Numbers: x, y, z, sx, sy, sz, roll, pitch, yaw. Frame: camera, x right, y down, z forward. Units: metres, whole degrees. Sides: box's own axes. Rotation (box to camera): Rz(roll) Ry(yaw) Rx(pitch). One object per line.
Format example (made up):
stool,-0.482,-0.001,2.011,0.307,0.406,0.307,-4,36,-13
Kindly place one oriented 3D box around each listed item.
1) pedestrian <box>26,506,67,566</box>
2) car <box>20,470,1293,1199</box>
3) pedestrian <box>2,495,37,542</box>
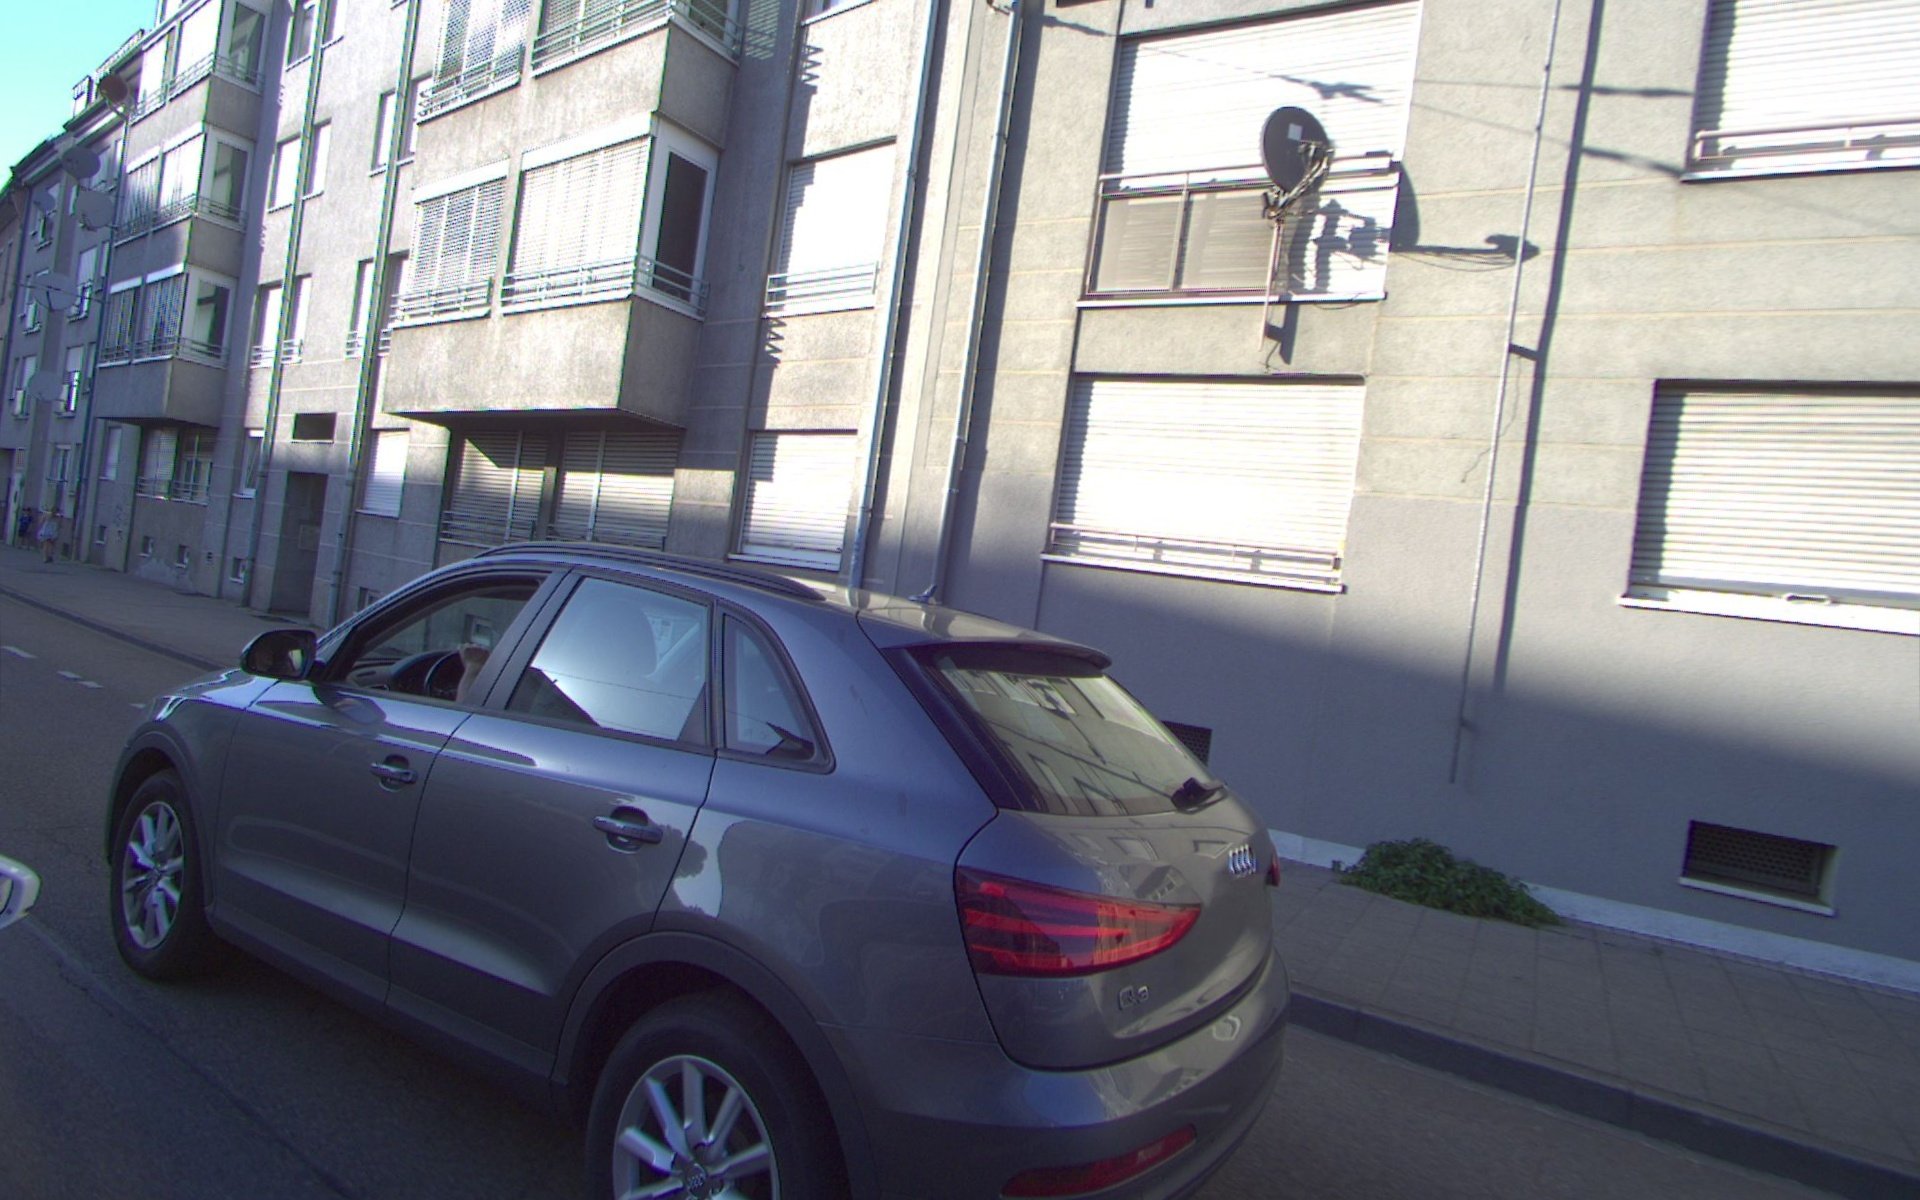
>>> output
pedestrian,-21.993,-1.532,24.219,0.600,1.361,0.514,6,0,35
car,-1.211,0.630,3.409,4.000,1.606,1.769,8,0,31
pedestrian,-27.648,-2.398,29.576,0.576,1.266,0.587,8,1,39
